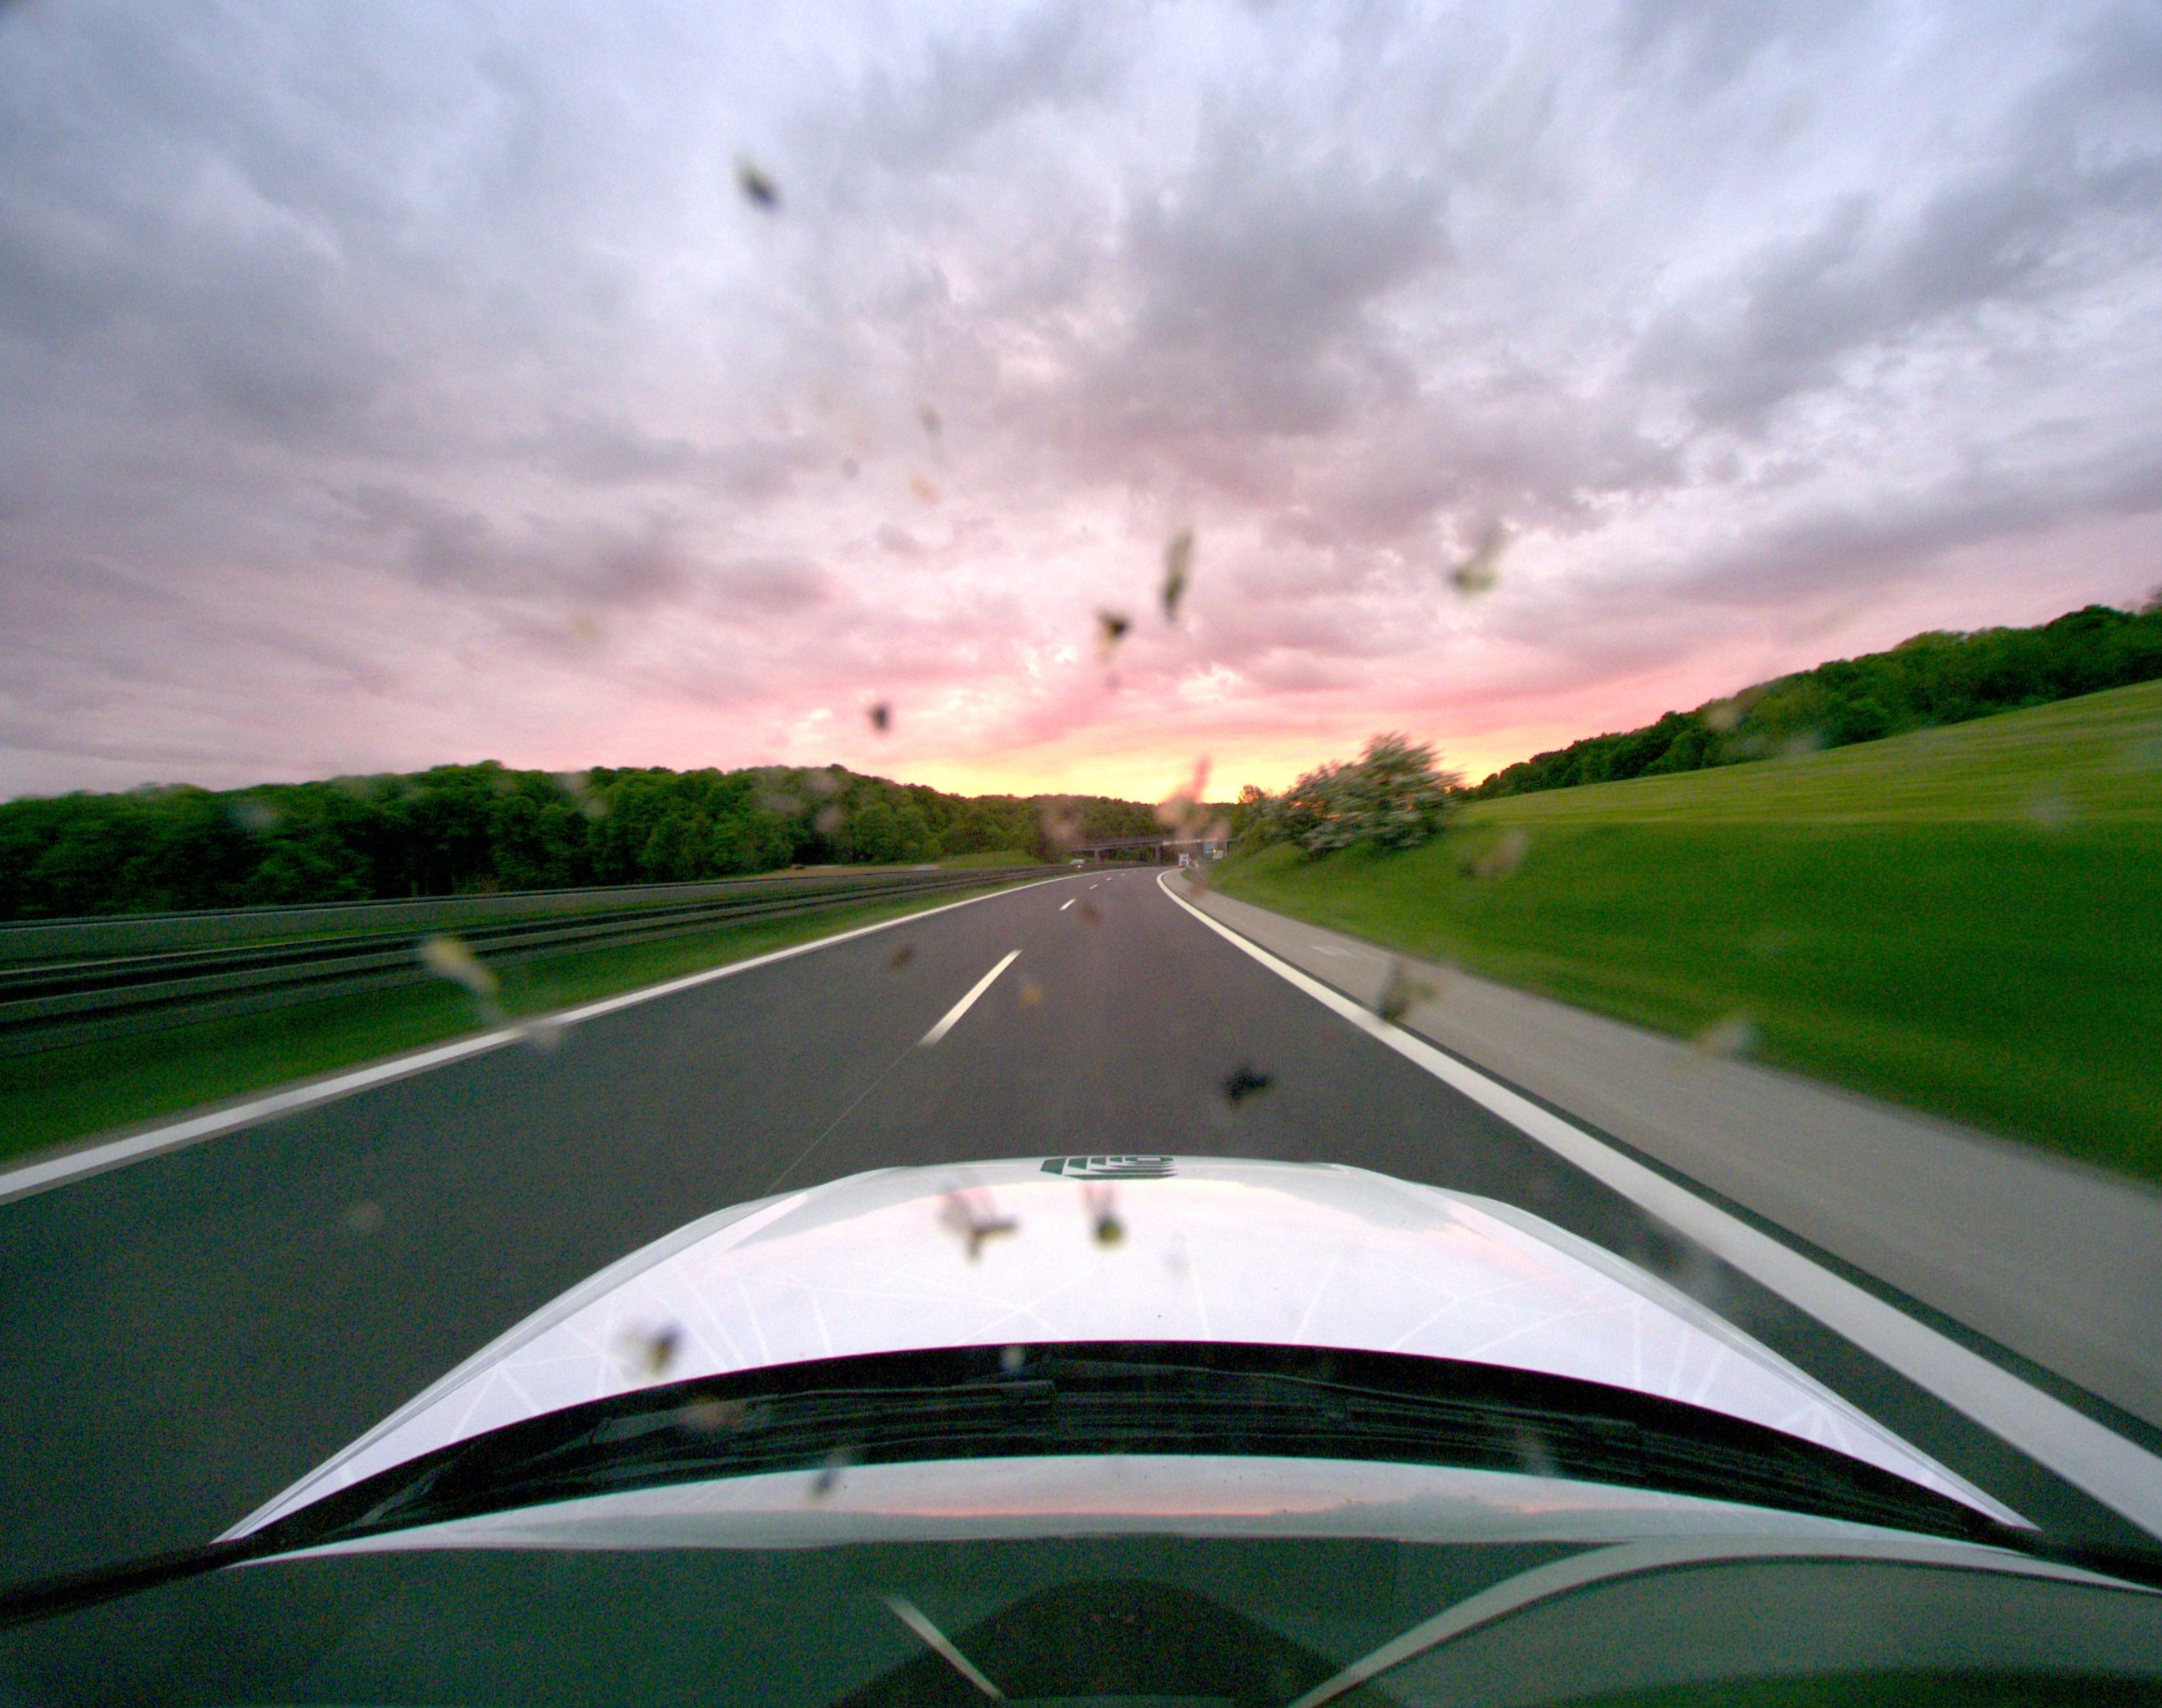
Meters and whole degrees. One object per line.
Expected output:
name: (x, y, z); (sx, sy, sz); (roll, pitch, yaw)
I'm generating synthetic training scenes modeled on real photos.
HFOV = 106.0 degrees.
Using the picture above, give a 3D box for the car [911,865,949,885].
car: (-11.321, 1.545, 61.180); (1.630, 1.288, 3.958); (-5, 0, 7)

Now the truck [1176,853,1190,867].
truck: (20.485, 1.144, 163.776); (2.261, 2.665, 5.253); (-3, 0, 12)

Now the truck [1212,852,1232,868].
truck: (40.006, 1.672, 231.299); (3.928, 4.287, 14.382); (-2, -1, 16)
